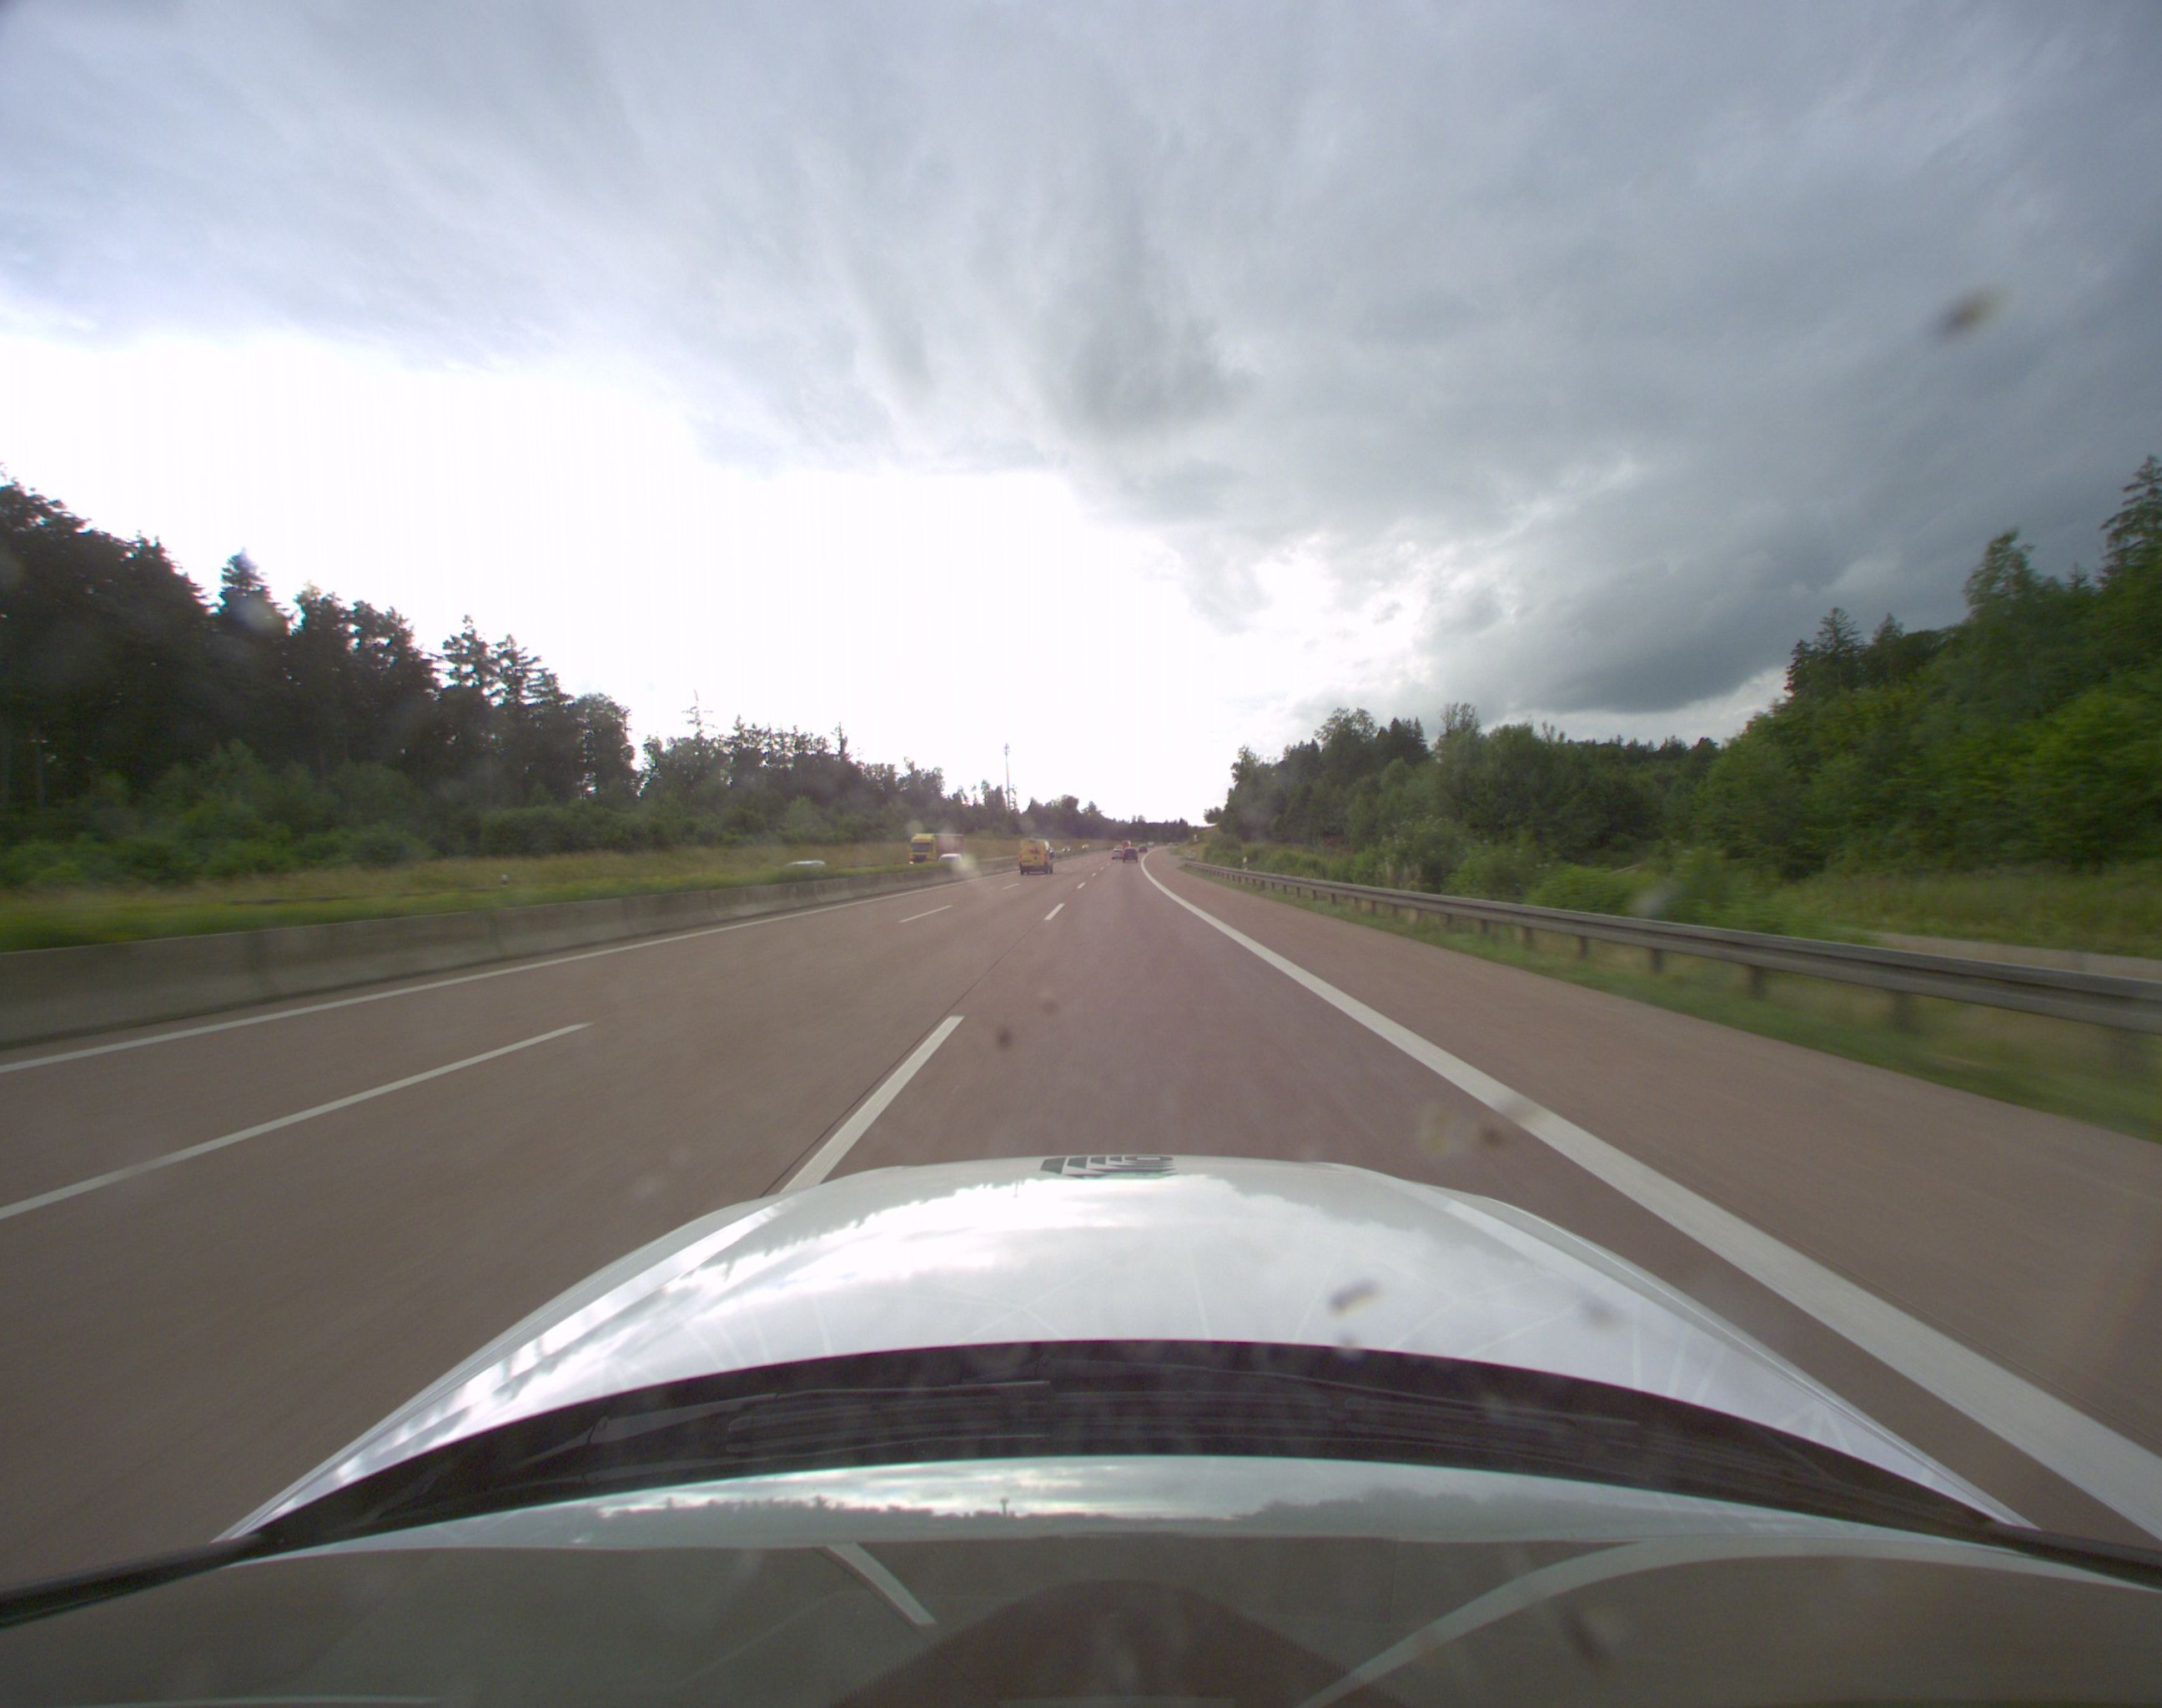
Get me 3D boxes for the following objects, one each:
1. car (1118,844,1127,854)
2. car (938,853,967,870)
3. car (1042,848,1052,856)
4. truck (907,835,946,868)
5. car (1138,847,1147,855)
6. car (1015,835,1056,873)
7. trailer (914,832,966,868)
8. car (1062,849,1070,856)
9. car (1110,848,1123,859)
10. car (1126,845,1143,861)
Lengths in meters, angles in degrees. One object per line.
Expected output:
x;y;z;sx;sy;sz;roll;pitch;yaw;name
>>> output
10.965;-1.307;214.539;2.230;2.430;6.213;-2;0;5;car
-11.641;0.671;74.108;1.733;1.403;4.034;-1;0;3;car
-7.295;-0.354;176.984;1.755;1.638;4.383;-1;-1;2;car
-17.569;-0.232;92.950;2.999;3.582;6.062;-1;-1;3;truck
13.746;-0.608;182.160;1.969;1.648;4.622;-2;-1;3;car
-3.363;0.020;61.807;2.448;2.706;5.618;-2;-1;3;car
-17.124;-0.336;100.085;3.020;4.042;14.542;-1;-1;3;trailer
-3.840;-0.429;210.803;1.799;1.815;4.005;-1;1;5;car
5.365;-0.042;123.479;1.970;1.648;4.621;-2;-1;2;car
6.799;-0.104;103.524;2.035;1.897;5.581;-2;-1;3;car
